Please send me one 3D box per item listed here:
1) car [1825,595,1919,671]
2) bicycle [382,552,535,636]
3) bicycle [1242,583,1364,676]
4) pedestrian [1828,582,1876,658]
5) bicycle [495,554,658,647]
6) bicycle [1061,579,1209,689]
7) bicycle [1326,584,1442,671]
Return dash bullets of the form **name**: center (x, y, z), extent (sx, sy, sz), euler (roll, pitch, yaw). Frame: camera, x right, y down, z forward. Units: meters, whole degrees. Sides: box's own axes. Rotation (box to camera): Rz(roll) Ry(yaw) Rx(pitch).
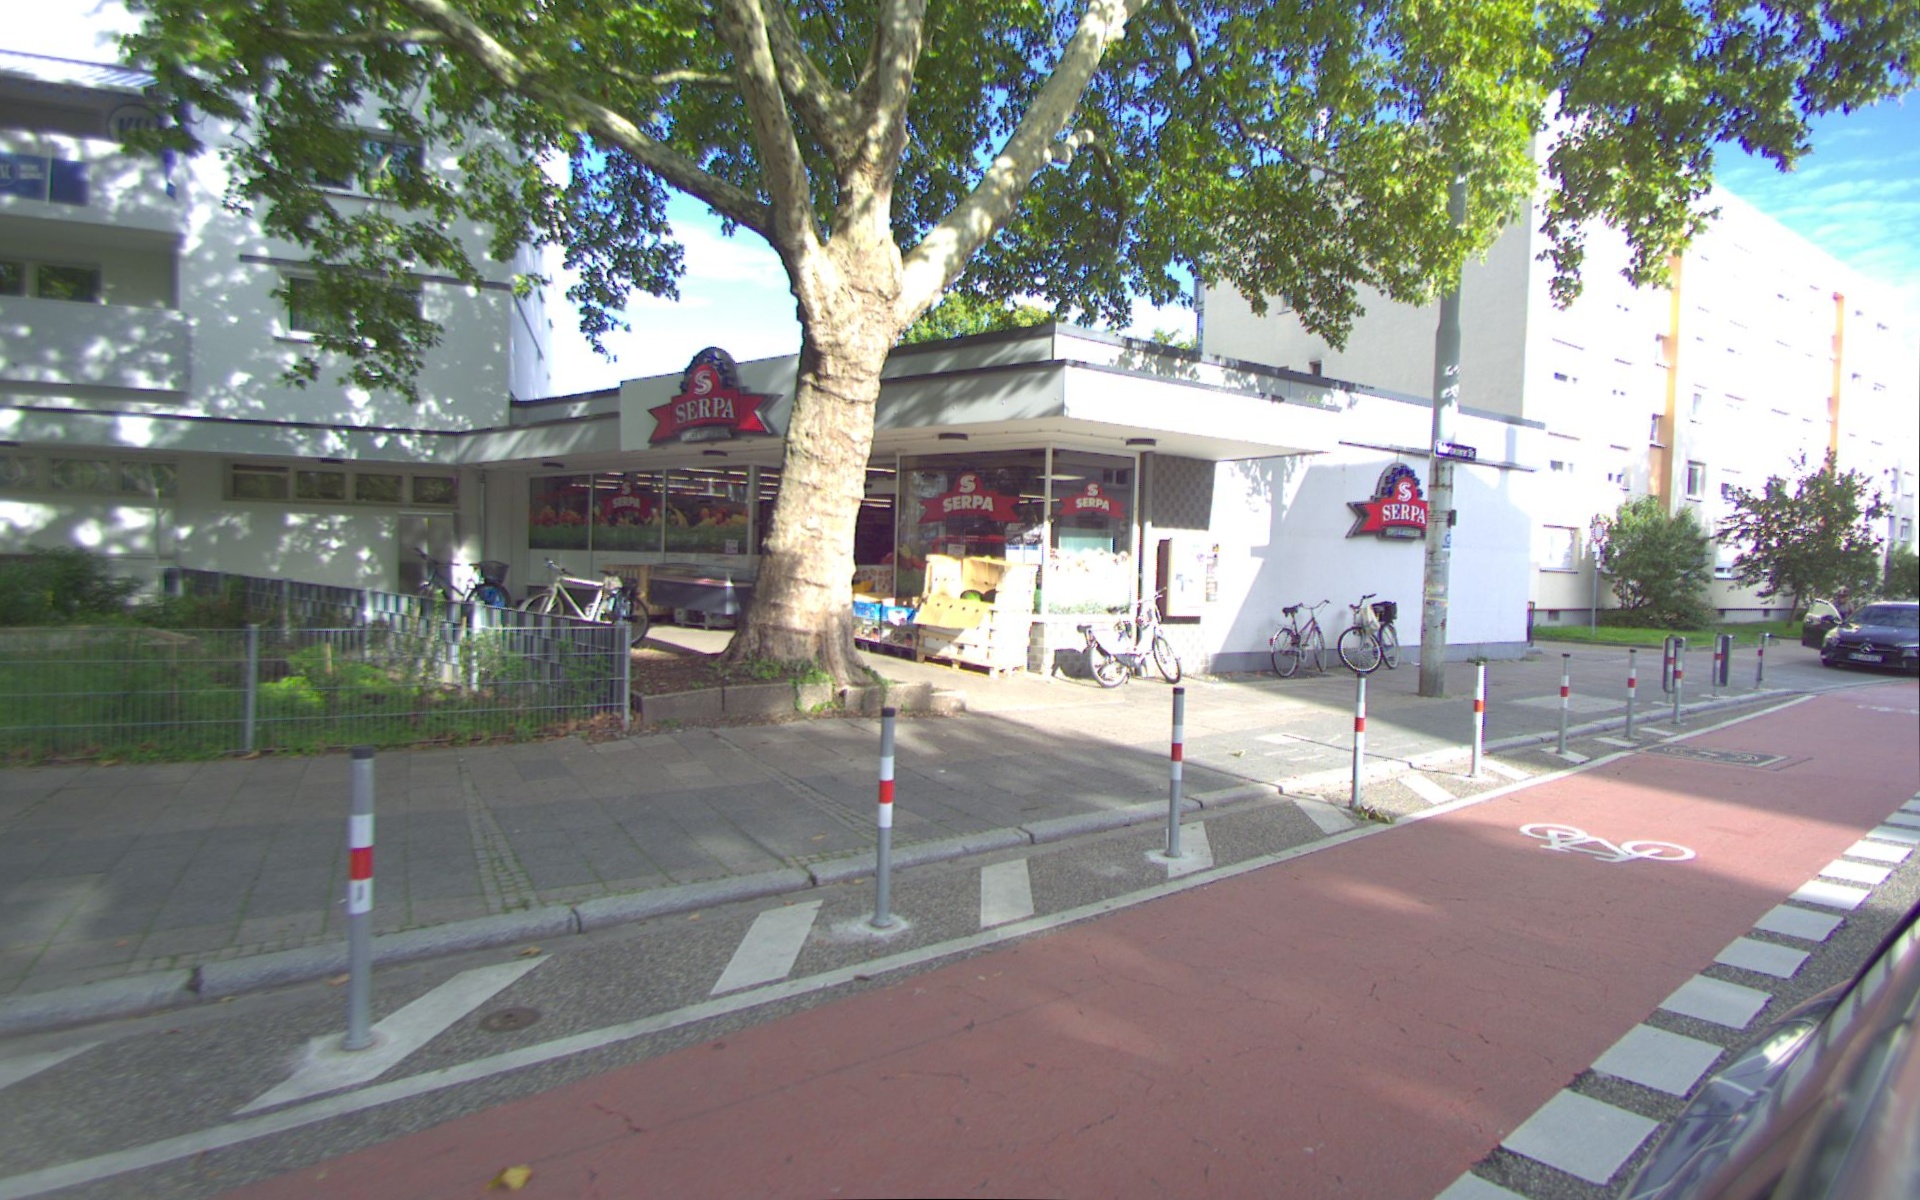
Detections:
- **car**: center (20.445, 0.664, 21.770), extent (4.152, 1.429, 1.768), euler (0, 3, -35)
- **bicycle**: center (-7.090, -0.104, 14.377), extent (0.688, 1.084, 1.832), euler (4, 3, 35)
- **bicycle**: center (4.967, 0.393, 14.632), extent (1.737, 1.220, 0.713), euler (-1, 6, -36)
- **pedestrian**: center (20.094, 0.439, 22.800), extent (0.729, 1.666, 0.654), euler (0, 1, -38)
- **bicycle**: center (-4.794, 0.029, 12.780), extent (1.817, 1.053, 0.749), euler (3, -4, -16)
- **bicycle**: center (2.177, 0.378, 12.512), extent (1.782, 1.220, 0.715), euler (-1, 6, -37)
- **bicycle**: center (6.614, 0.400, 15.755), extent (1.781, 1.220, 0.772), euler (-1, 6, -36)
